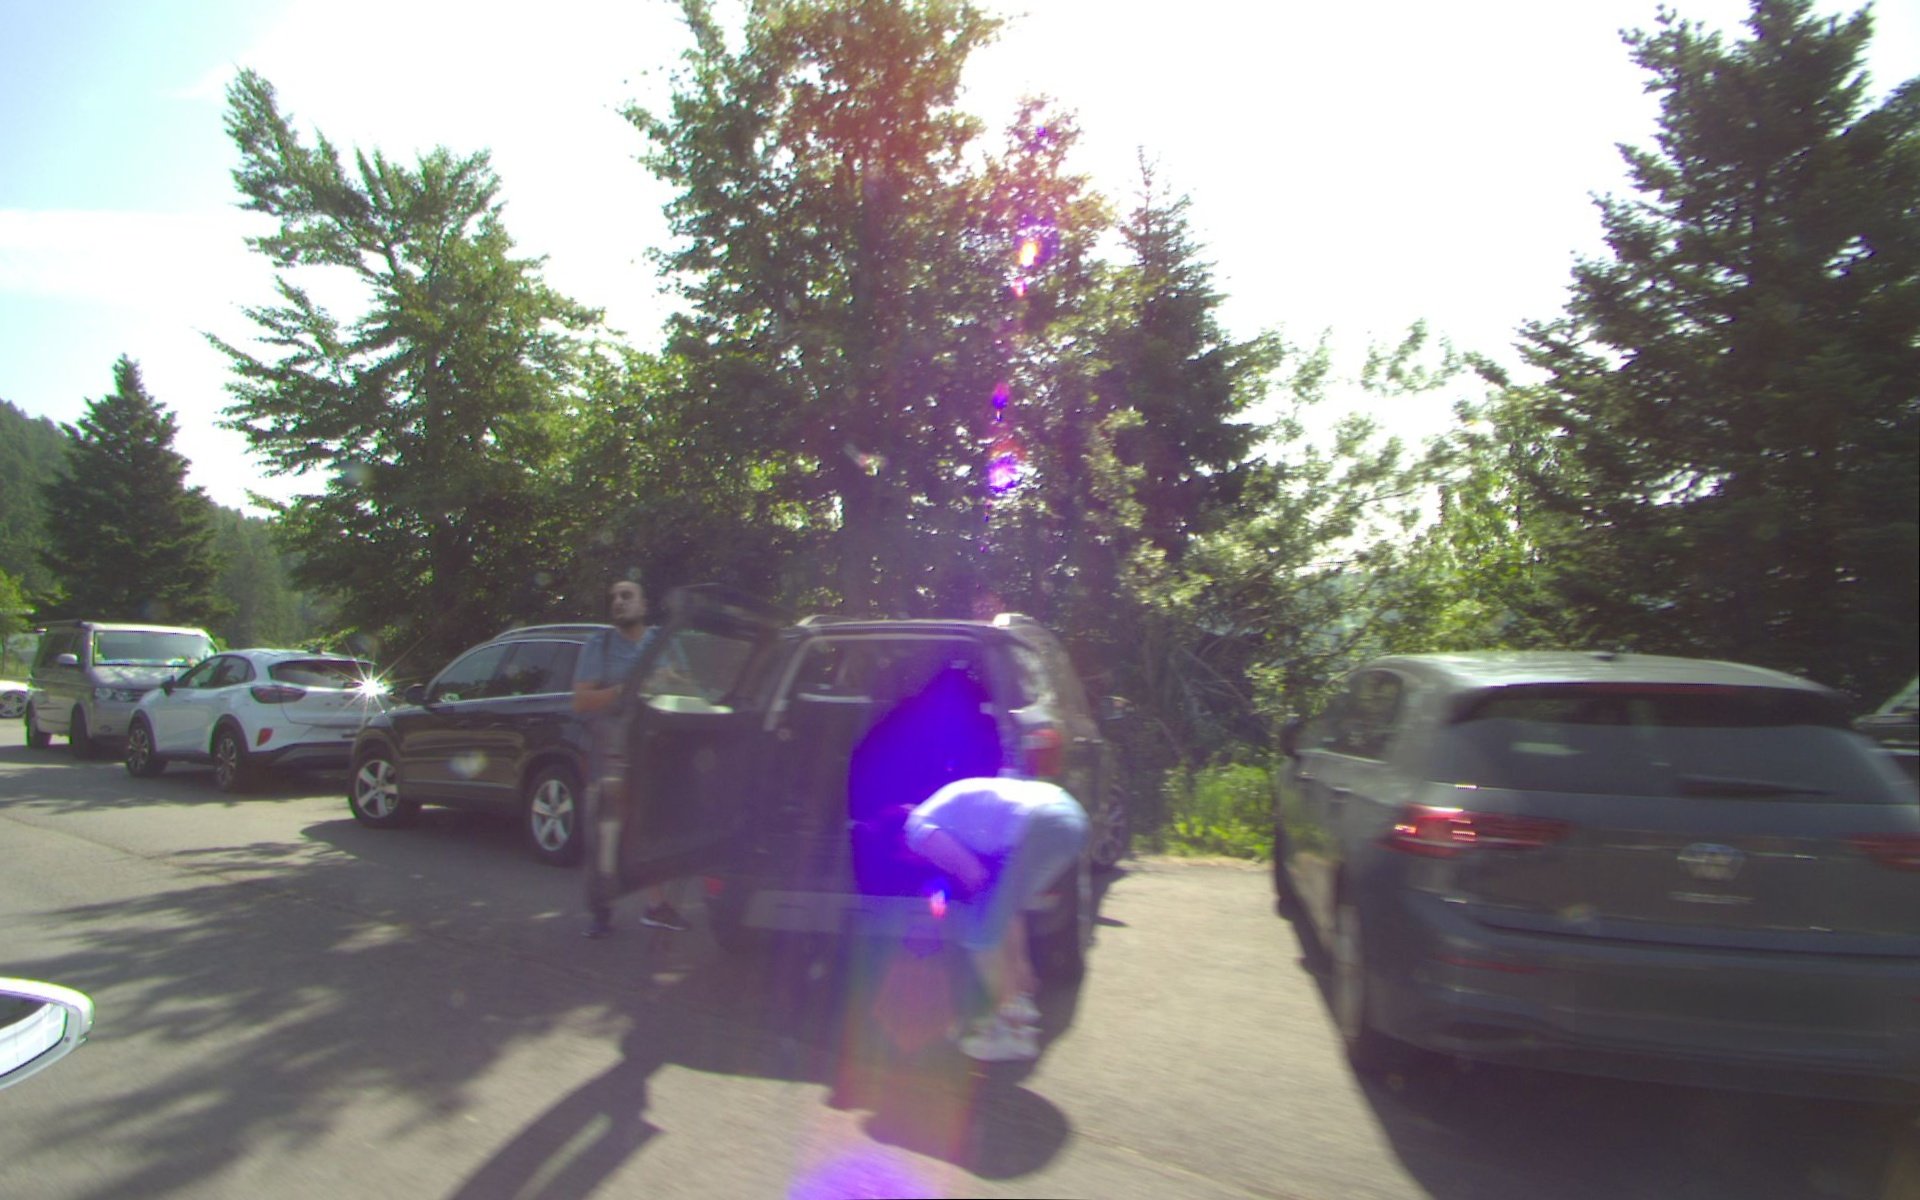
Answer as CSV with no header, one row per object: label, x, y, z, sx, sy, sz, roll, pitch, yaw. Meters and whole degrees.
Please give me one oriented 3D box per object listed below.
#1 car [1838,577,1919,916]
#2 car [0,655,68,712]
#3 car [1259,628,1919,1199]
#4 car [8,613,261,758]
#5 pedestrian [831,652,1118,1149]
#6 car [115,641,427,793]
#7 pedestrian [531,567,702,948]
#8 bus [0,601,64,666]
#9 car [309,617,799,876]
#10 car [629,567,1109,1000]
car,5.893,0.744,3.870,1.931,1.903,4.770,1,-3,17
car,-23.378,1.866,22.709,1.554,1.314,4.466,1,-5,19
car,2.439,0.927,4.523,1.805,1.460,4.000,1,-3,13
car,-13.200,1.287,15.926,4.757,1.996,1.901,-1,-5,36
pedestrian,0.056,0.927,3.492,0.661,1.422,0.769,2,2,42
car,-8.276,1.310,11.937,3.995,1.536,1.677,-2,-6,34
pedestrian,-1.696,0.760,5.030,0.621,1.782,0.581,1,-3,-3
bus,-58.333,1.805,55.439,12.752,3.626,2.957,1,0,-38
car,-3.511,1.064,8.379,4.252,1.651,1.741,-2,-5,35
car,-0.109,0.895,6.060,1.961,1.681,4.005,0,-5,8
